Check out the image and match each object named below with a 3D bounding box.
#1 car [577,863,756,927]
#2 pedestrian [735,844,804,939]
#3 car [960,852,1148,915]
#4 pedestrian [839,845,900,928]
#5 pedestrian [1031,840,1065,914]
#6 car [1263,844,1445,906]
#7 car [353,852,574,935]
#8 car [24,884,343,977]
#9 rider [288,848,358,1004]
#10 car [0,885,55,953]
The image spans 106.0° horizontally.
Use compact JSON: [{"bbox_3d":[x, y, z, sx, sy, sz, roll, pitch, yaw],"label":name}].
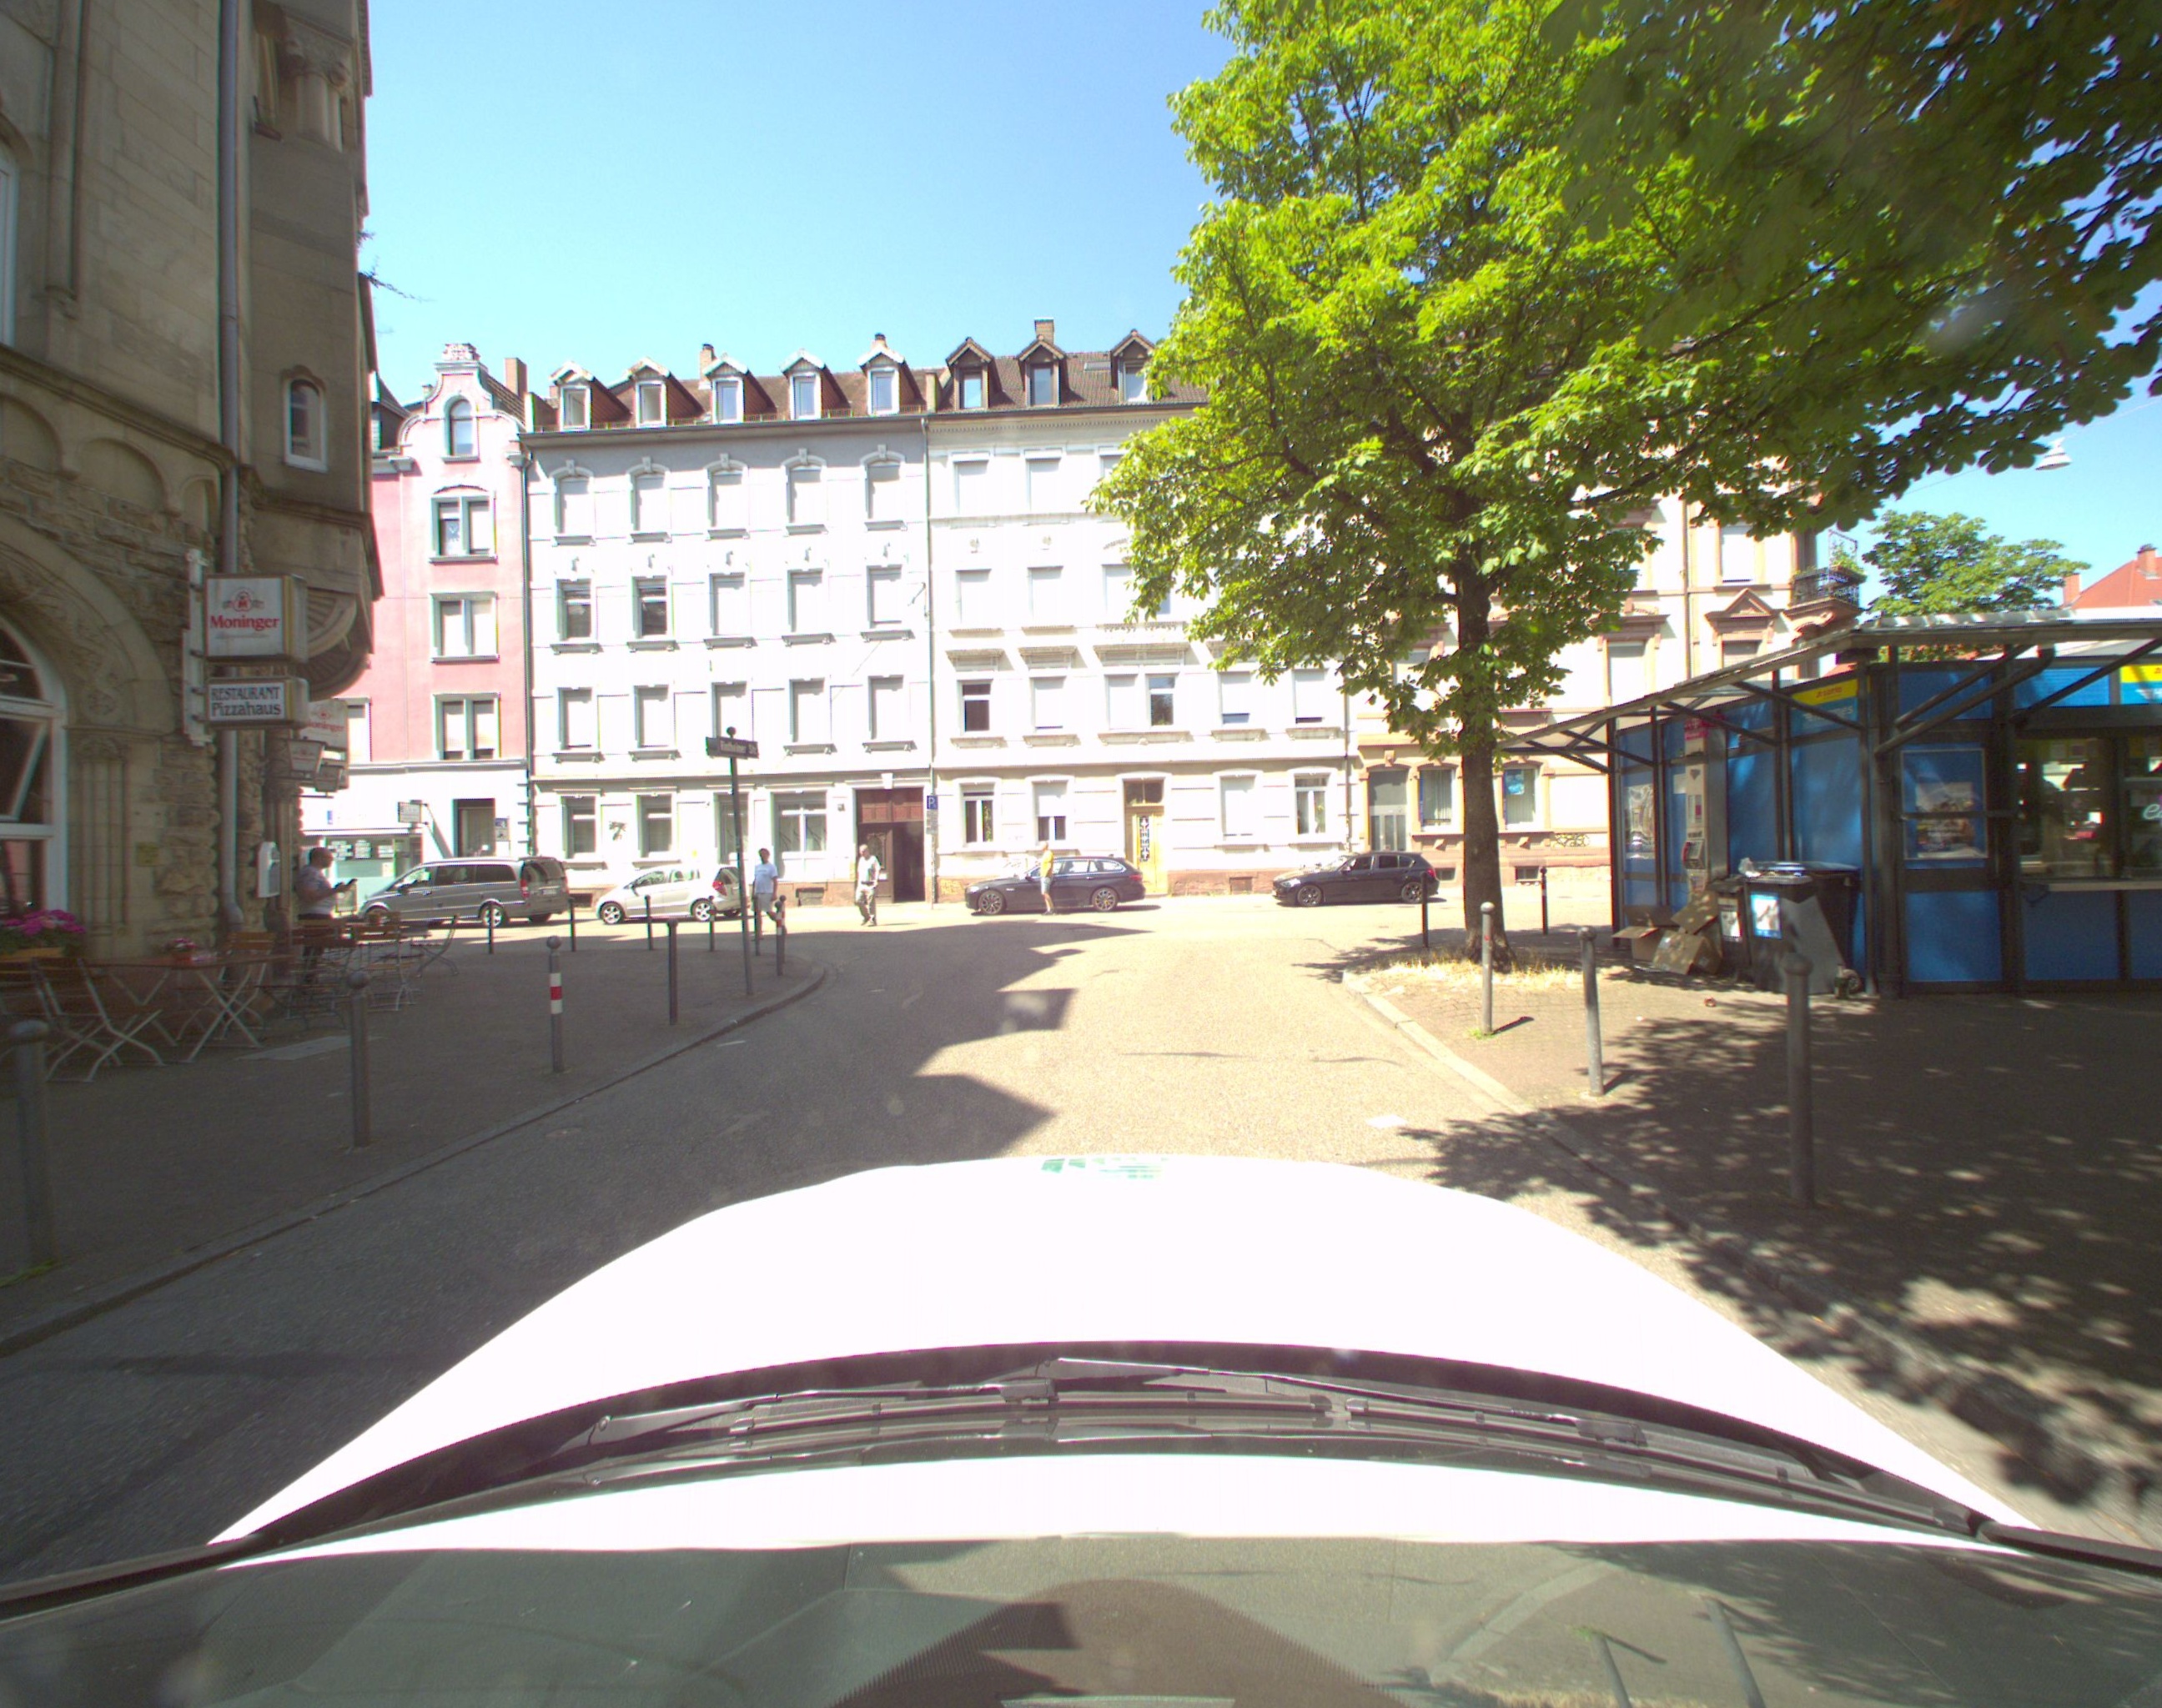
[{"bbox_3d":[-11.526,1.118,22.810,4.031,1.562,1.808,-2,-1,2],"label":"car"},{"bbox_3d":[-6.377,0.758,16.712,0.842,1.889,0.940,-3,-1,24],"label":"pedestrian"},{"bbox_3d":[-0.647,0.772,22.035,4.839,1.437,2.002,-2,-1,3],"label":"car"},{"bbox_3d":[-4.812,0.727,18.568,0.893,1.814,0.965,-2,-1,18],"label":"pedestrian"},{"bbox_3d":[-0.833,0.579,20.801,0.721,1.853,0.685,-2,-1,4],"label":"pedestrian"},{"bbox_3d":[7.196,0.542,21.784,4.276,1.370,1.809,-2,2,3],"label":"car"},{"bbox_3d":[-17.135,1.063,22.761,4.687,1.997,1.878,-2,1,2],"label":"car"},{"bbox_3d":[-15.905,1.319,14.588,3.819,1.426,1.722,-2,-2,1],"label":"car"},{"bbox_3d":[-8.682,0.794,9.344,0.544,1.697,0.634,-2,-1,-42],"label":"rider"},{"bbox_3d":[-32.775,1.958,23.886,3.337,1.885,1.549,-2,0,1],"label":"car"}]
